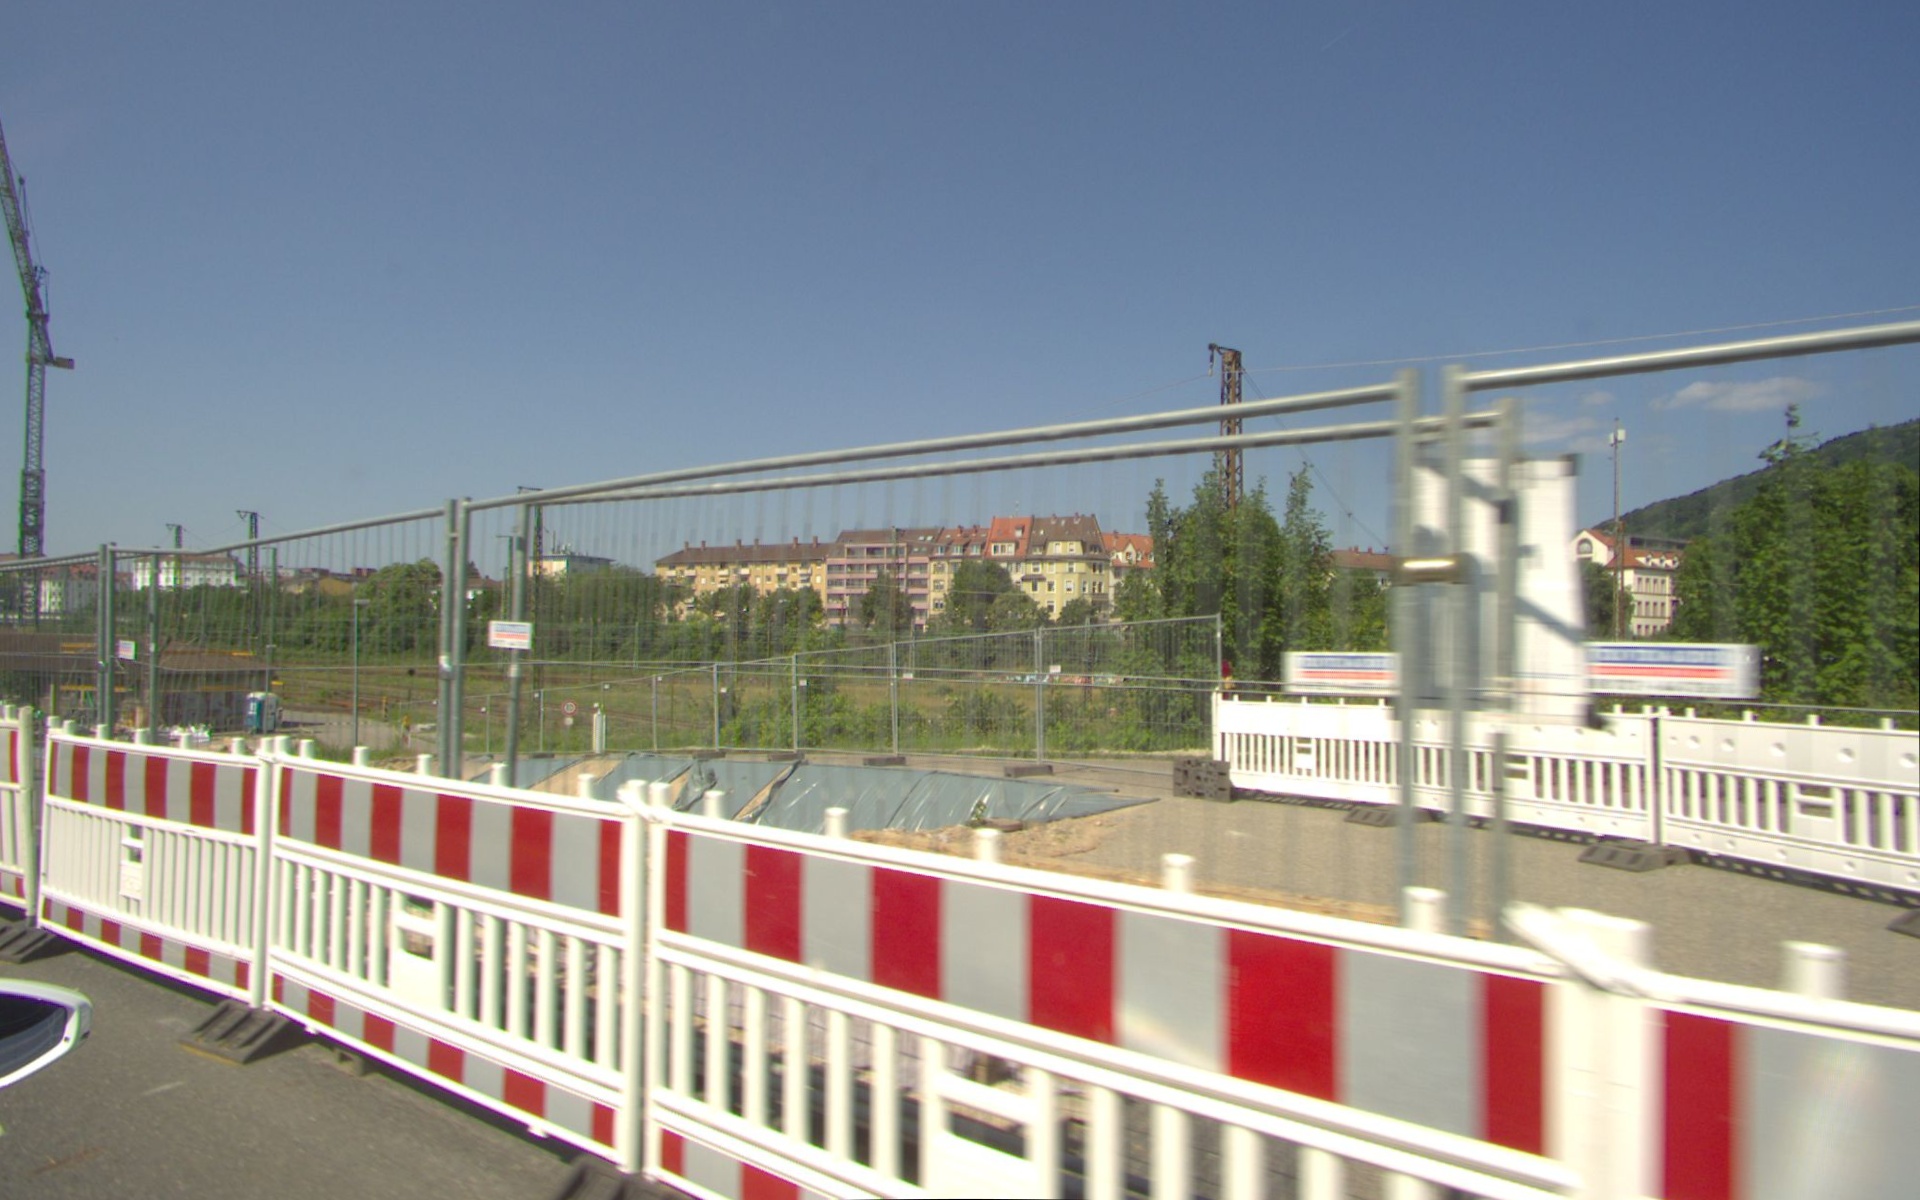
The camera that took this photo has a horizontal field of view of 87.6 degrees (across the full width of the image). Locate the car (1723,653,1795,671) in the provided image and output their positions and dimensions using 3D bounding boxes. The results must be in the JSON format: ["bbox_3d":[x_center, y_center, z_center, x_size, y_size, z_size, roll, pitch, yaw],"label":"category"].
[{"bbox_3d":[65.492,5.049,82.158,1.837,1.384,4.301,2,-2,-25],"label":"car"}]
